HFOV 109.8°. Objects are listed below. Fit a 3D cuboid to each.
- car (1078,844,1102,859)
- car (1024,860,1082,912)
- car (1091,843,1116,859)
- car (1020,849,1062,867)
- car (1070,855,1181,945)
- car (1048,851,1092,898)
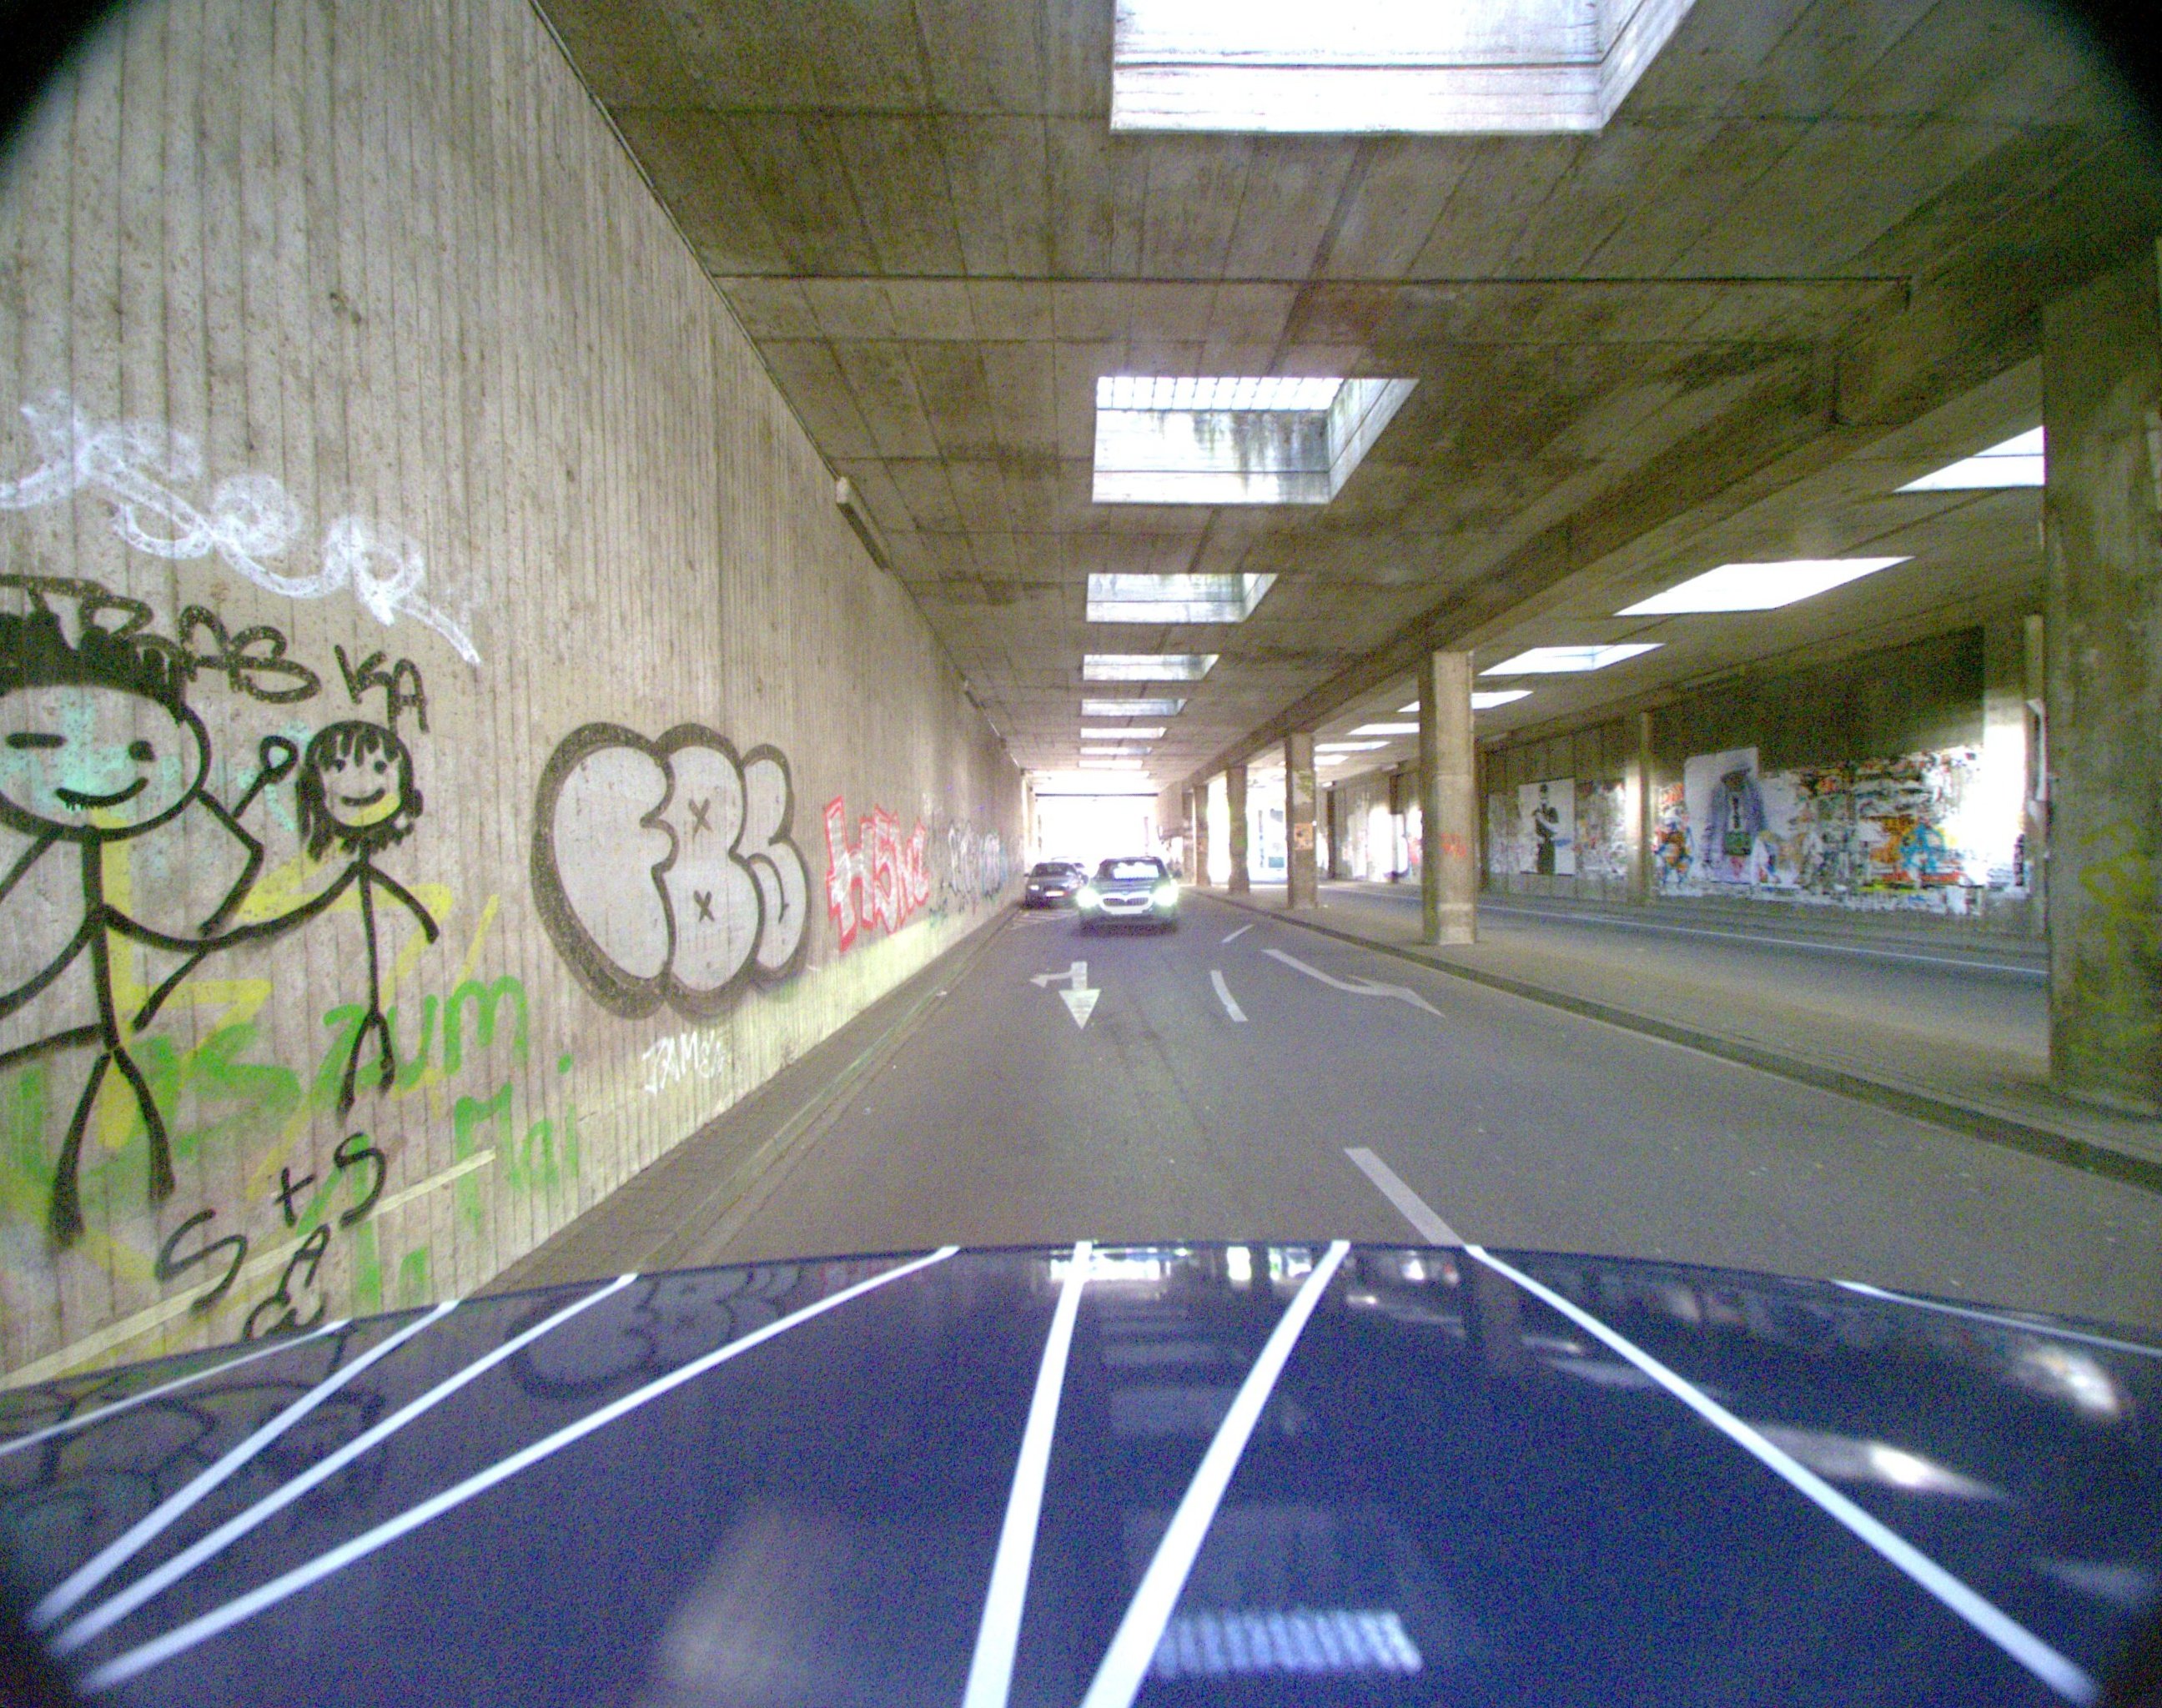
[{"bbox_3d":[1.197,-0.351,103.547,2.361,2.002,5.146,-1,0,-8],"label":"car"},{"bbox_3d":[-0.795,0.942,23.897,1.593,1.387,3.833,-2,0,1],"label":"car"},{"bbox_3d":[2.851,-0.344,97.535,2.361,2.002,5.146,-1,0,-8],"label":"car"},{"bbox_3d":[-4.216,0.425,78.979,4.256,1.805,1.999,-1,0,-5],"label":"car"},{"bbox_3d":[1.052,0.845,16.499,1.998,1.594,5.178,-1,0,5],"label":"car"},{"bbox_3d":[-0.372,0.760,29.903,1.581,1.676,4.078,-2,0,1],"label":"car"}]
